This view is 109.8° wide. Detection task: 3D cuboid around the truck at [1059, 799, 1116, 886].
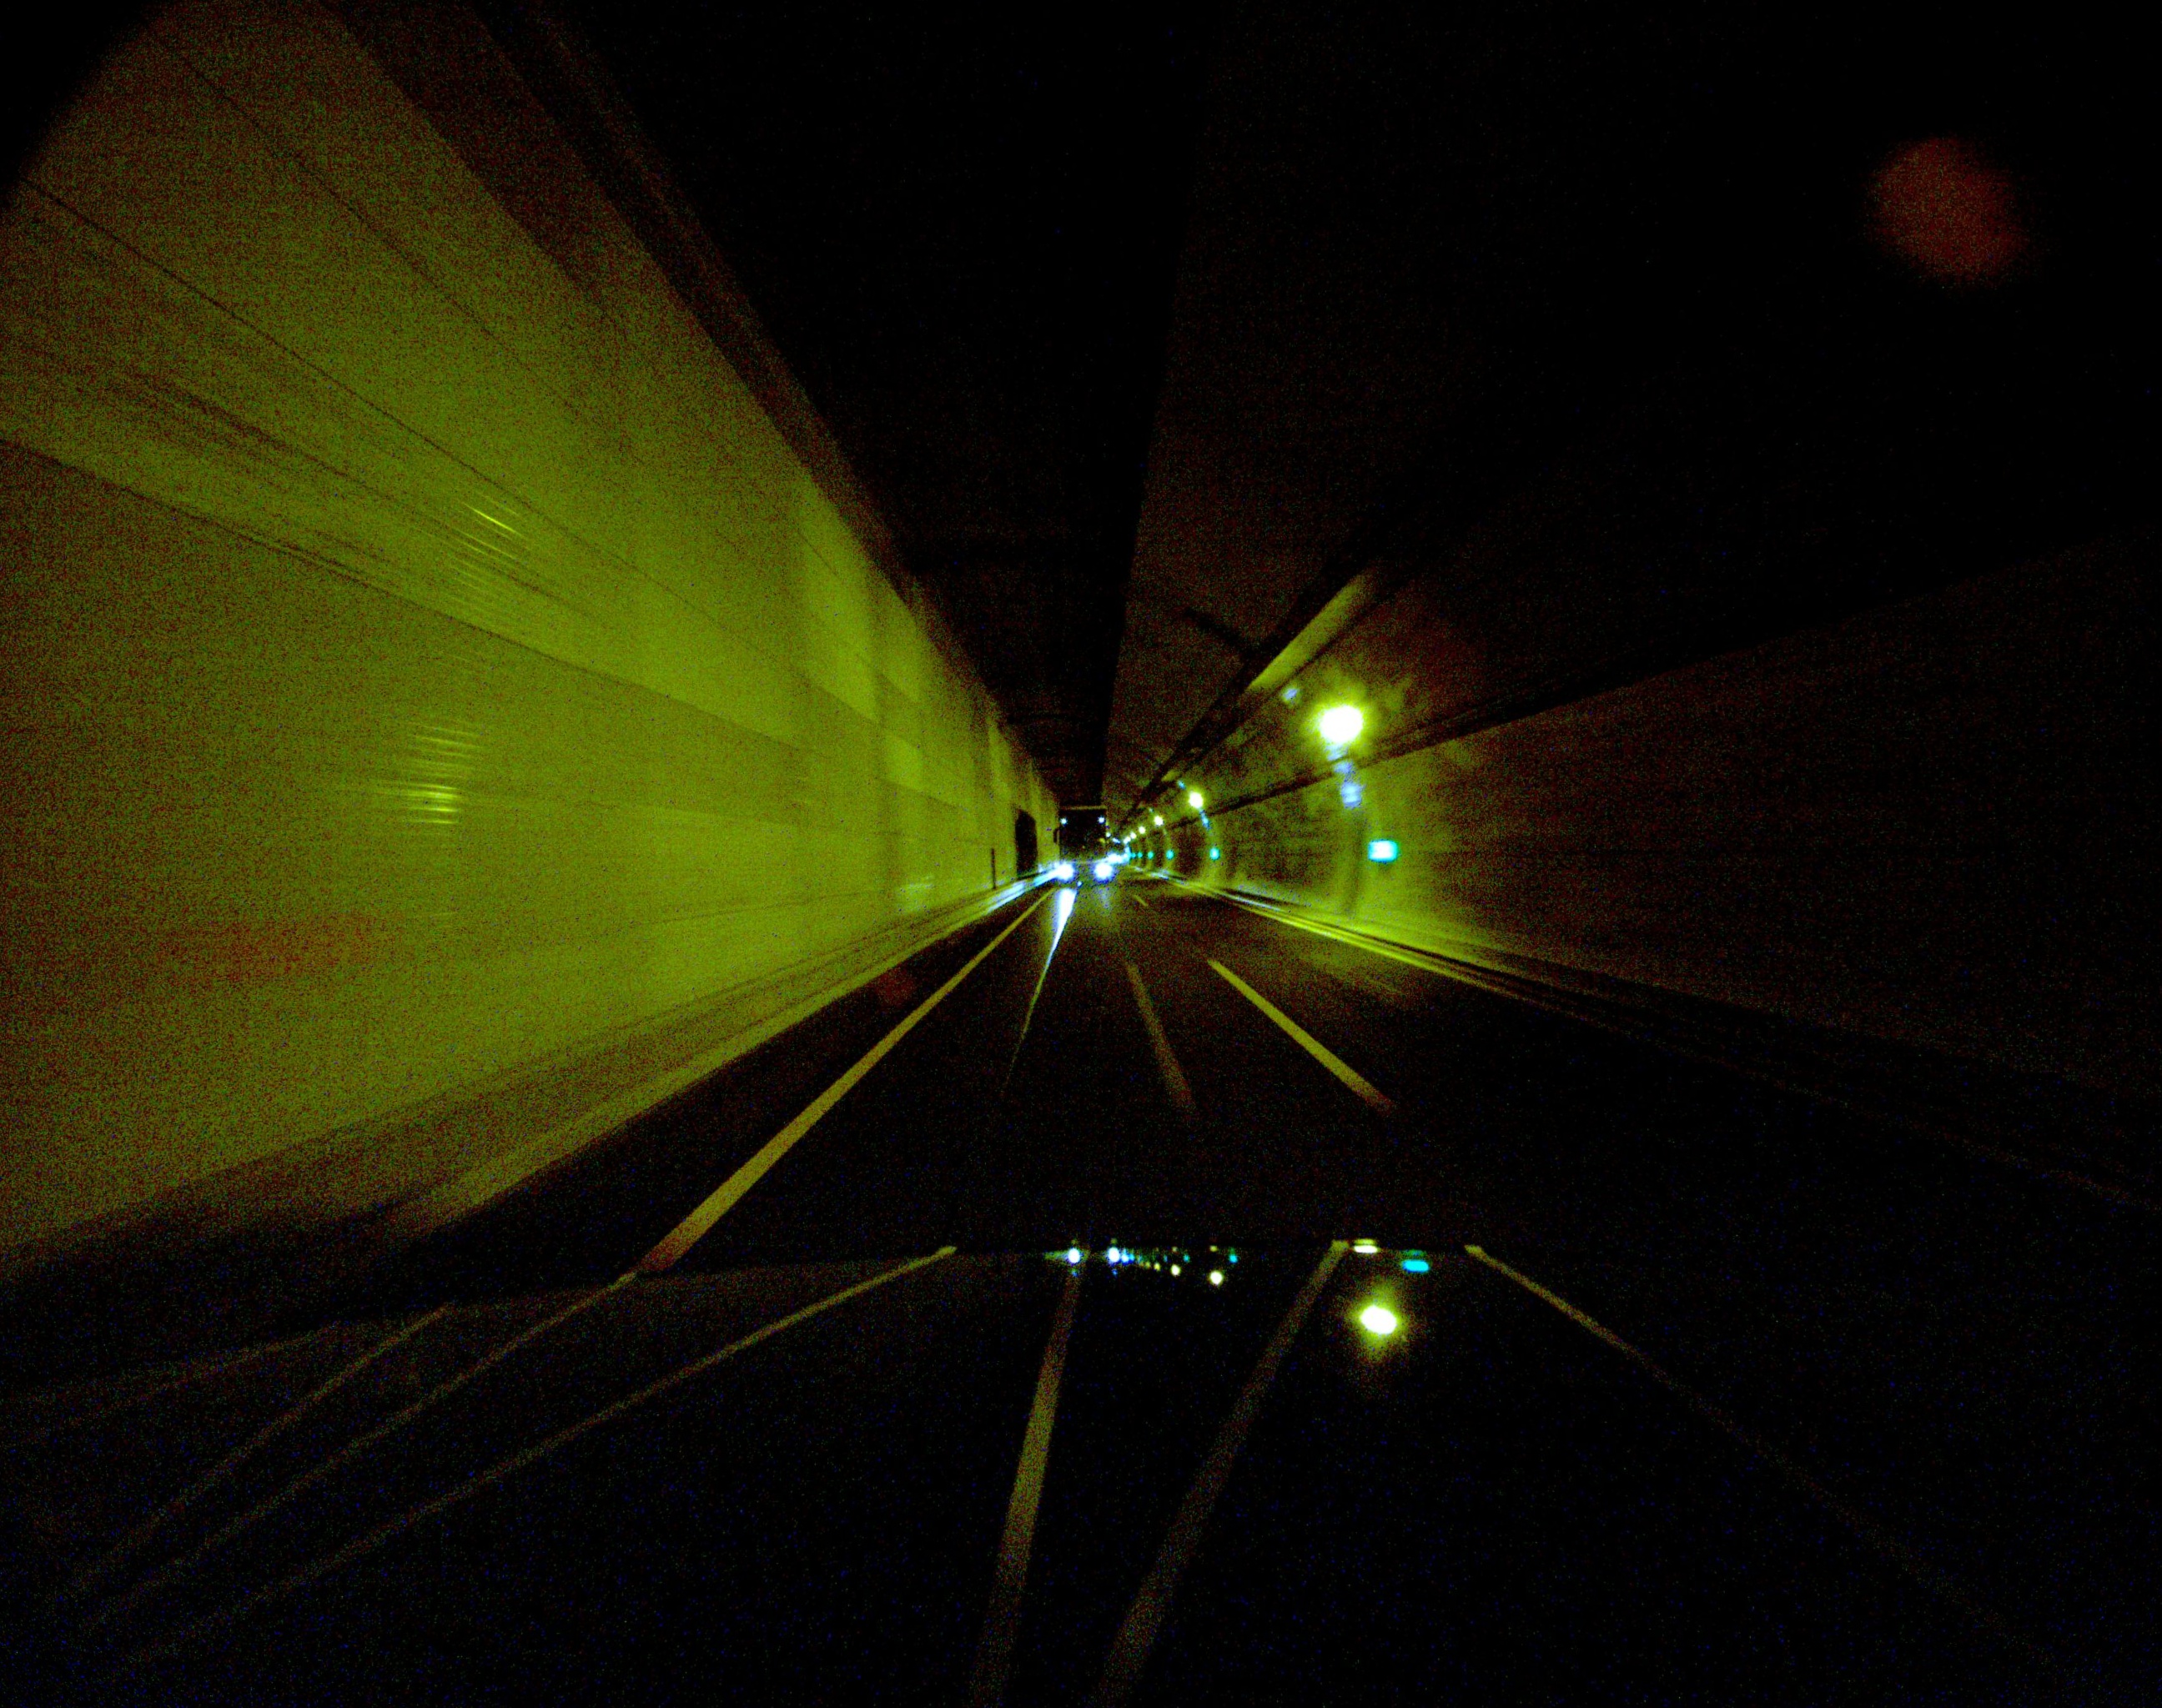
[{"bbox_3d":[0.342,-0.605,41.249,2.769,4.198,7.976,-1,1,0],"label":"truck"}]
